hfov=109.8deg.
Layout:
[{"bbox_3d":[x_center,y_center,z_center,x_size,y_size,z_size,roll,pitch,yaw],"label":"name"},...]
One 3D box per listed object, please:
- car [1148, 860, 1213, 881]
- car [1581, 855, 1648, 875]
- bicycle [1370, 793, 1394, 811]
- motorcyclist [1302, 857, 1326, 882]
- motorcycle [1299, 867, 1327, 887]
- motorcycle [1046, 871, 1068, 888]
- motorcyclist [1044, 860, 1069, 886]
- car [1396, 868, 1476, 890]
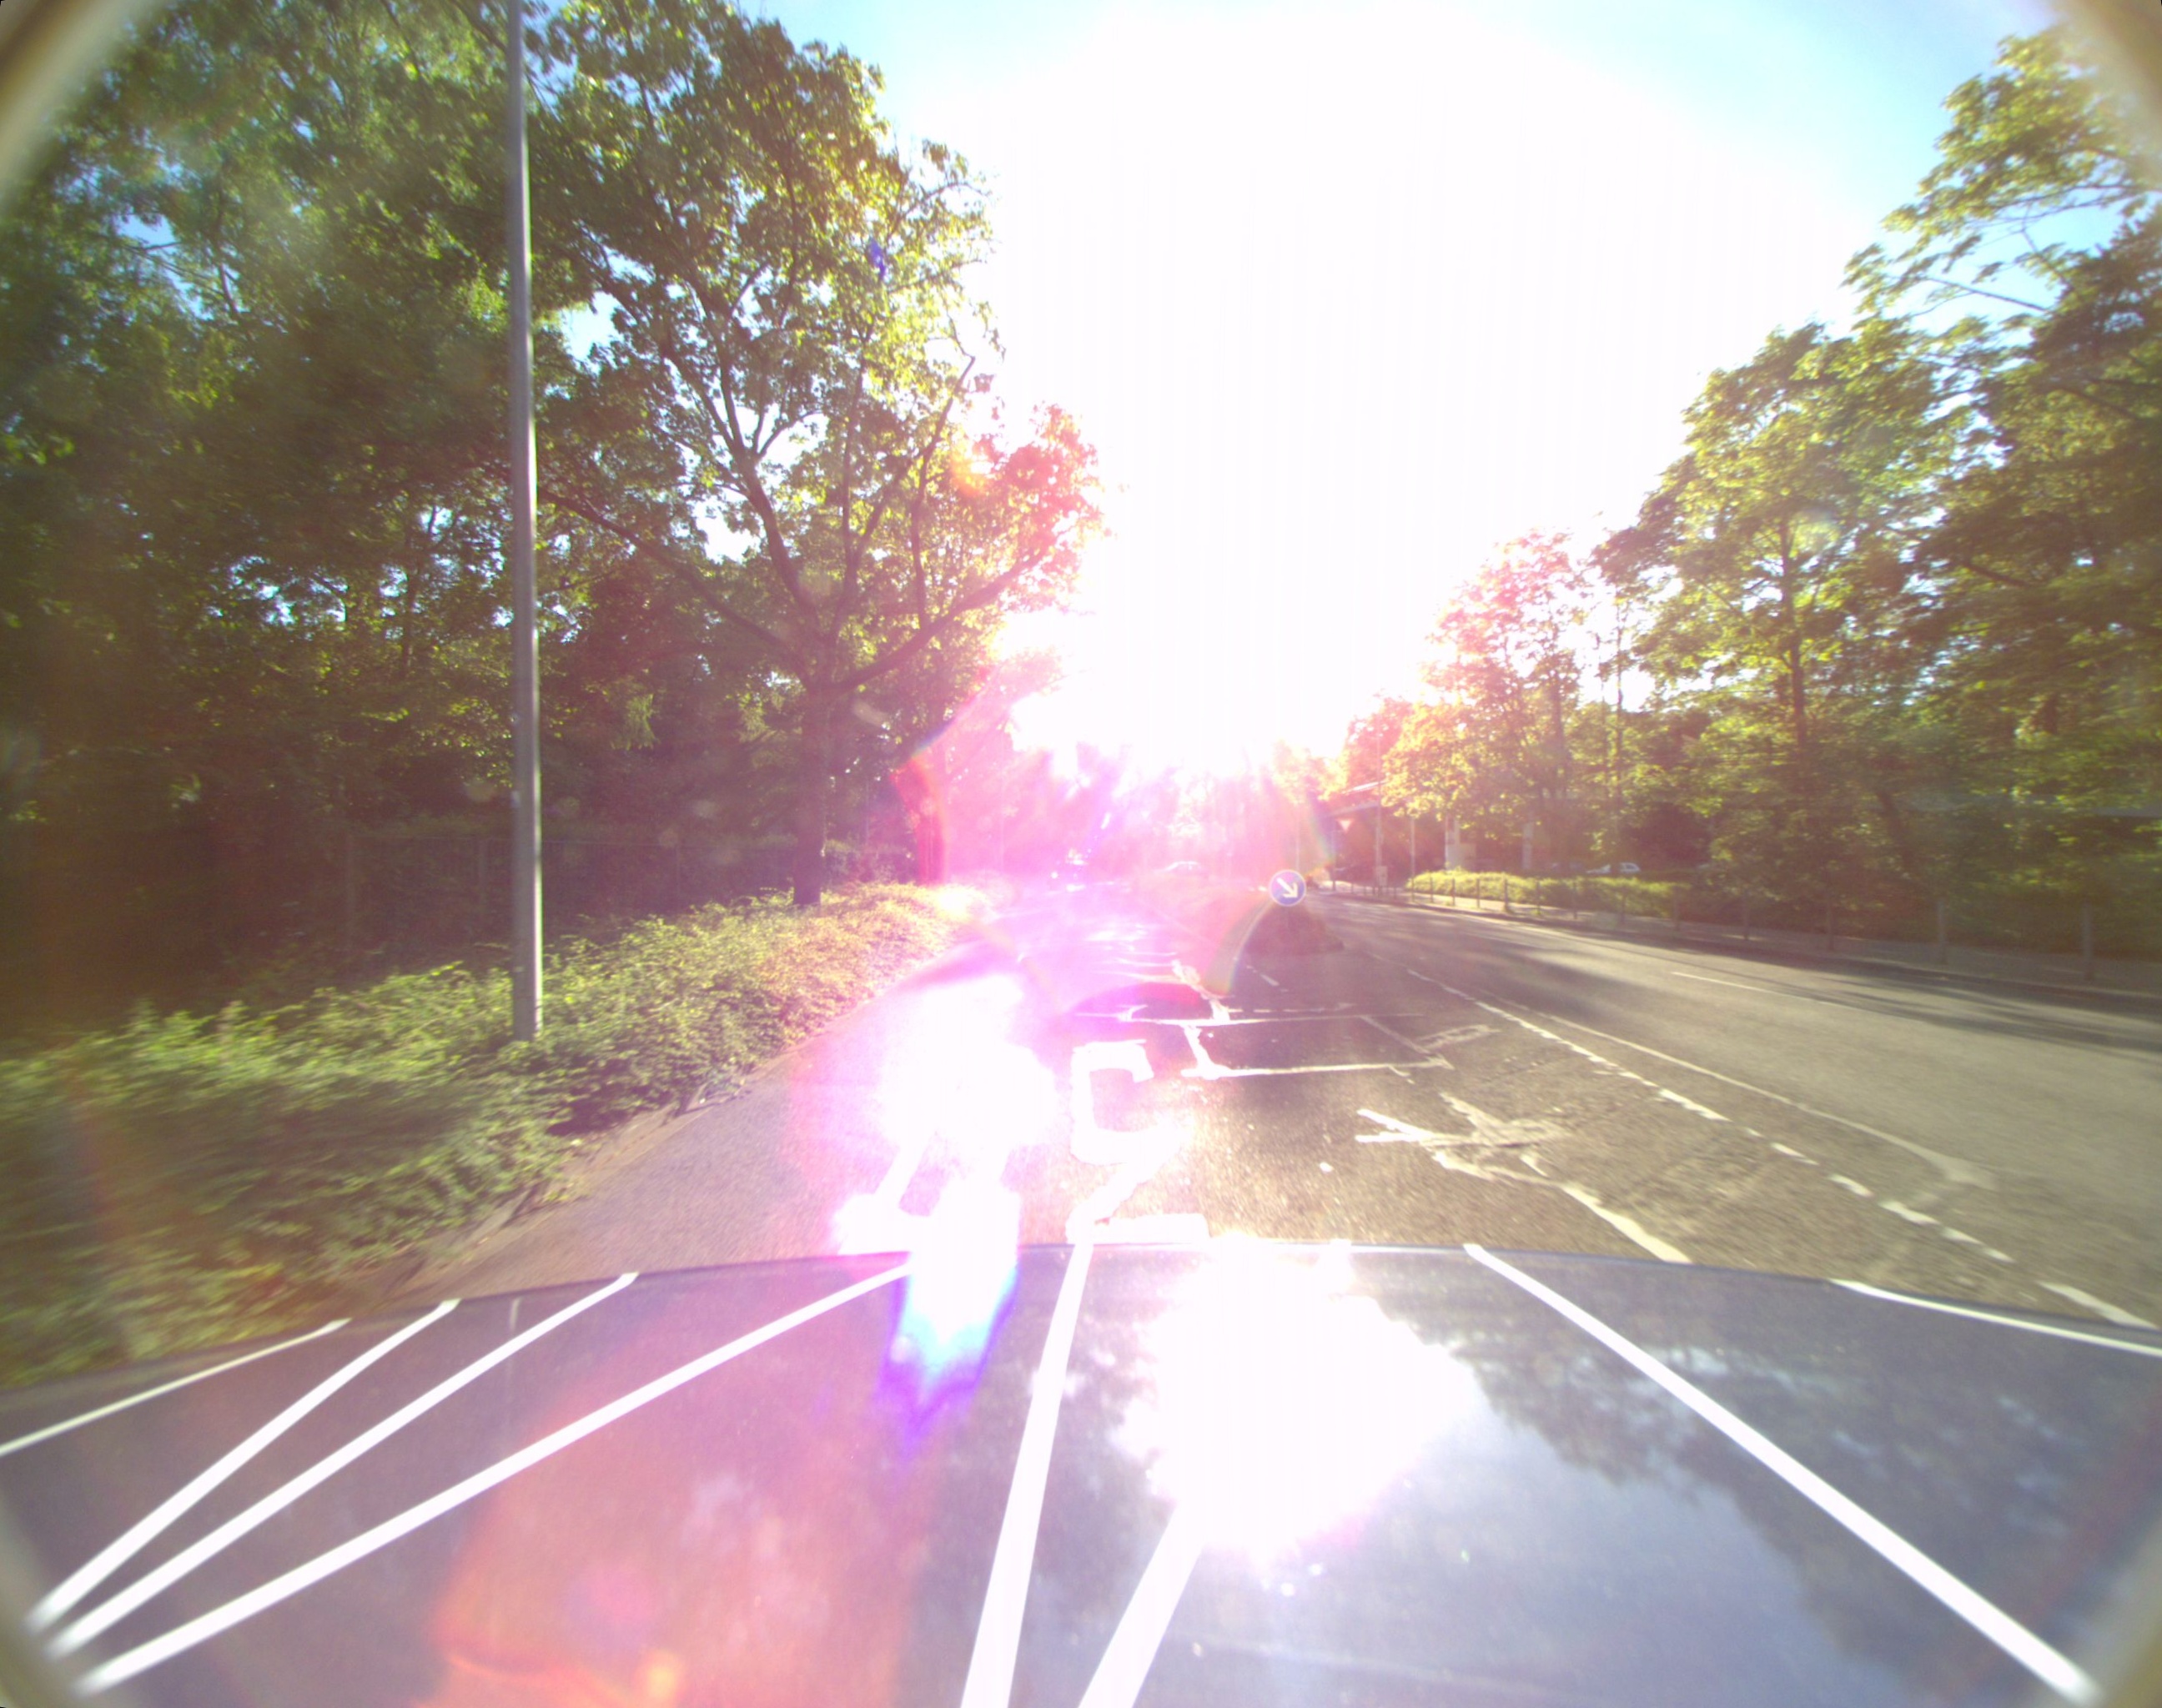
[{"bbox_3d":[6.824,1.097,52.098,4.003,1.381,1.866,0,0,-18],"label":"car"},{"bbox_3d":[41.487,0.879,59.124,3.973,1.499,1.721,0,1,0],"label":"car"},{"bbox_3d":[24.479,-4.221,61.894,1.051,1.365,2.449,-1,0,3],"label":"bicycle"},{"bbox_3d":[13.628,0.894,44.387,1.072,1.462,0.949,-1,0,-45],"label":"motorcyclist"},{"bbox_3d":[13.545,1.332,44.381,2.293,1.062,0.523,0,0,-44],"label":"motorcycle"},{"bbox_3d":[-1.394,1.461,43.784,0.808,0.907,2.710,-2,0,-11],"label":"motorcycle"},{"bbox_3d":[-1.419,1.058,43.776,1.139,1.419,1.565,-2,0,-12],"label":"motorcyclist"},{"bbox_3d":[20.839,1.459,44.673,3.997,1.237,1.466,0,0,0],"label":"car"}]
